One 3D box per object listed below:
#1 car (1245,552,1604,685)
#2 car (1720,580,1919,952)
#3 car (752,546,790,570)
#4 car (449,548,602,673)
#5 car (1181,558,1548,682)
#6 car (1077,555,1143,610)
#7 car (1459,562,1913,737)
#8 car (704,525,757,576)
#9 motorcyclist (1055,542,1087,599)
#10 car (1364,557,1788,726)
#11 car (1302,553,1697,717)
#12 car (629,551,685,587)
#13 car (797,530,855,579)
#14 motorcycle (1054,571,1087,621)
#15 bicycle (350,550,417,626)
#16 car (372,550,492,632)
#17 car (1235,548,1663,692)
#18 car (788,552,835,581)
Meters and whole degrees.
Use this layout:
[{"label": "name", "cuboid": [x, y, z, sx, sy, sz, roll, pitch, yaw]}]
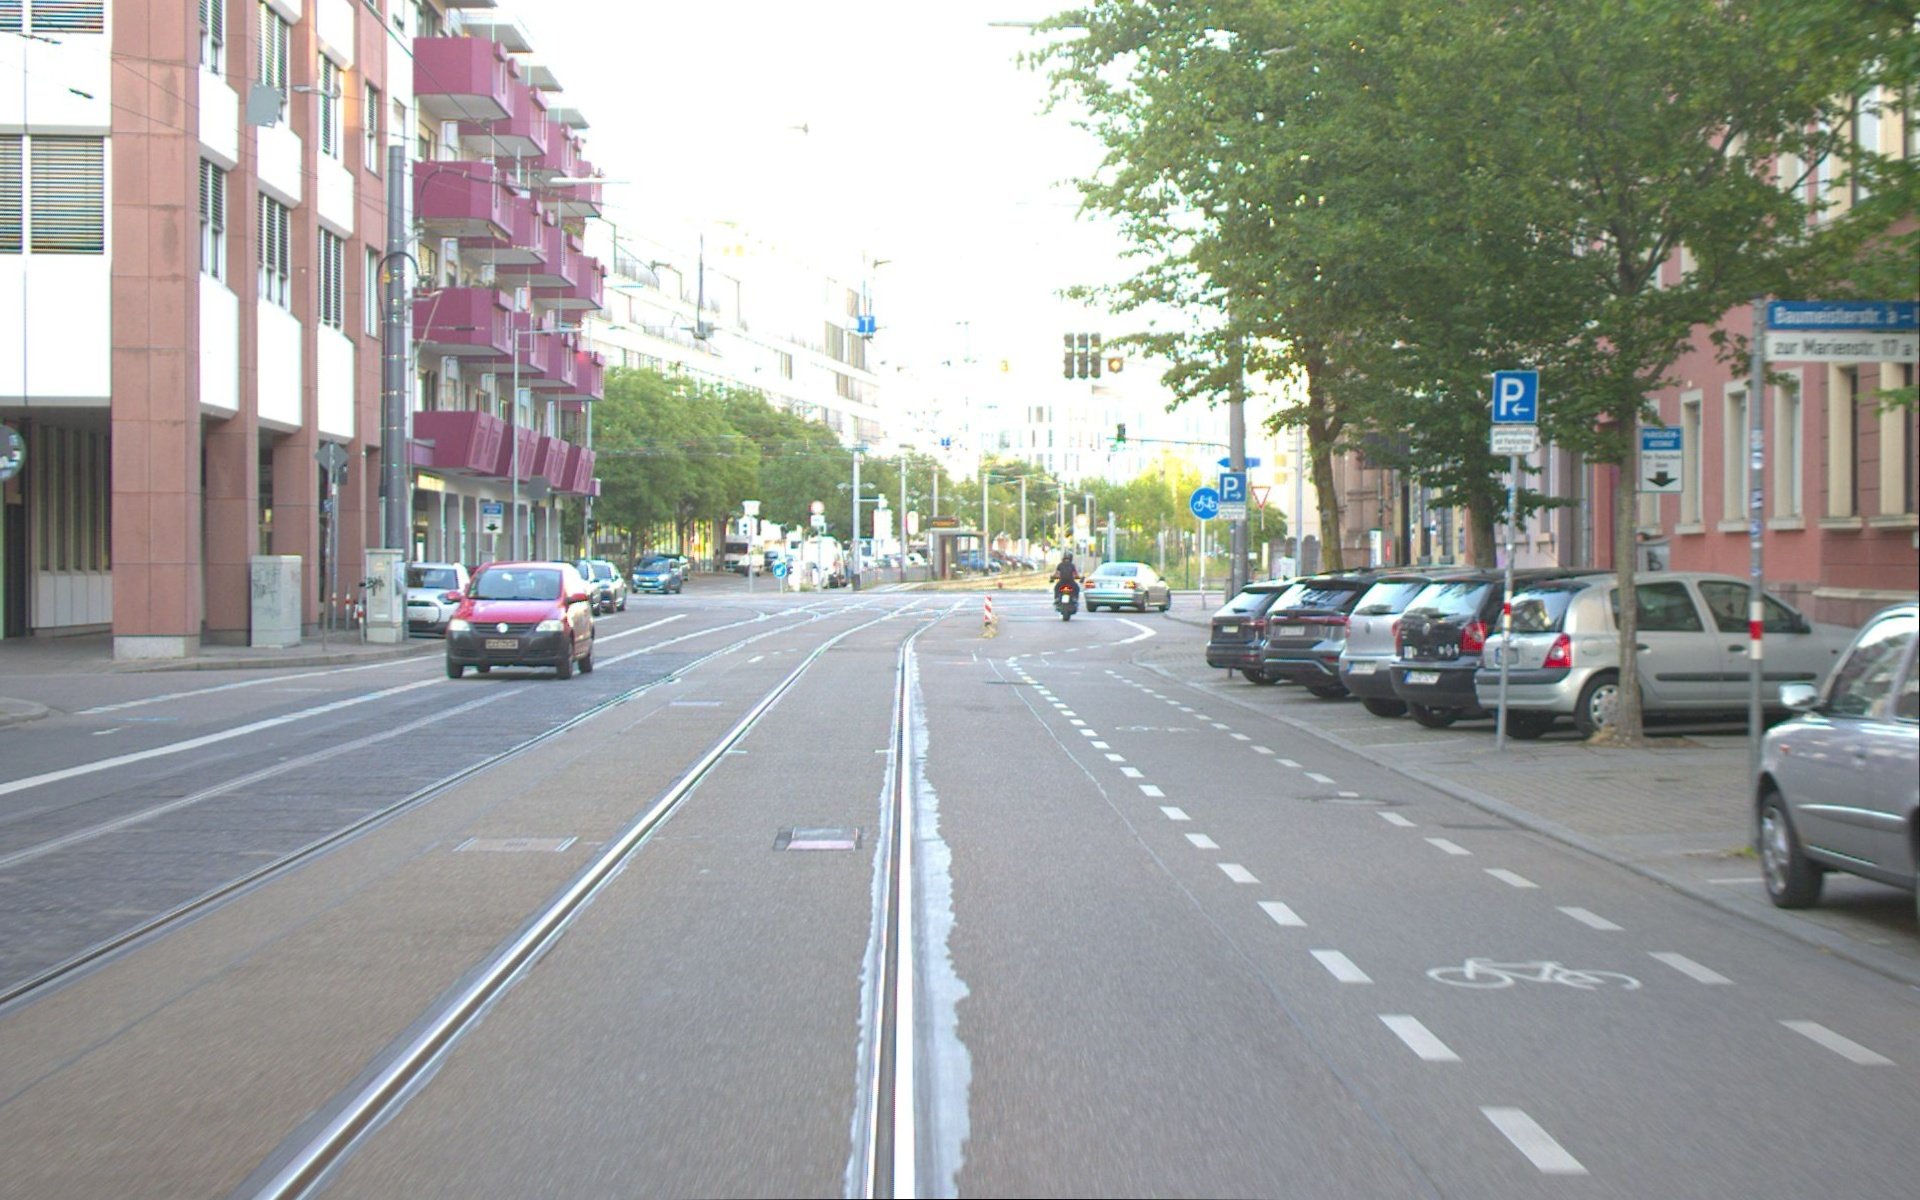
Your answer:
[{"label": "car", "cuboid": [5.728, 0.225, 42.373, 3.986, 1.487, 1.831, -2, 0, -25]}, {"label": "car", "cuboid": [4.471, 0.625, 14.460, 1.619, 1.376, 3.776, -2, 1, -1]}, {"label": "car", "cuboid": [-12.242, -2.718, 222.708, 1.683, 1.496, 4.238, 0, 1, 7]}, {"label": "car", "cuboid": [-5.798, 0.108, 46.216, 1.559, 1.553, 3.755, -1, 1, 0]}, {"label": "car", "cuboid": [5.386, 0.234, 45.665, 4.604, 1.452, 1.711, -2, 1, -25]}, {"label": "car", "cuboid": [4.412, -0.525, 101.622, 1.717, 1.550, 4.204, 1, 1, 0]}, {"label": "car", "cuboid": [6.267, 0.412, 29.734, 3.481, 1.424, 1.621, -1, -1, -20]}, {"label": "car", "cuboid": [-14.250, -3.072, 213.846, 2.202, 3.141, 6.141, 0, 1, 7]}, {"label": "motorcyclist", "cuboid": [2.852, -0.761, 88.360, 0.828, 1.468, 1.207, 0, 1, 2]}, {"label": "car", "cuboid": [5.714, 0.351, 31.877, 3.554, 1.424, 1.669, -2, 1, -26]}, {"label": "car", "cuboid": [5.435, 0.320, 34.625, 3.554, 1.511, 1.744, -2, 1, -26]}, {"label": "car", "cuboid": [-14.234, -1.468, 161.545, 1.683, 1.694, 4.238, 0, 1, 8]}, {"label": "car", "cuboid": [-6.890, -2.361, 177.047, 2.461, 2.474, 5.808, 0, 1, 3]}, {"label": "motorcycle", "cuboid": [2.852, -0.119, 88.198, 0.828, 1.236, 2.491, 0, 1, 2]}, {"label": "bicycle", "cuboid": [-10.703, -0.235, 63.866, 0.609, 1.373, 2.258, 0, 1, 7]}, {"label": "car", "cuboid": [-10.489, -0.203, 68.554, 1.717, 1.550, 4.204, 1, 1, 0]}, {"label": "car", "cuboid": [5.643, 0.198, 39.701, 4.443, 1.511, 2.064, -1, 1, -23]}, {"label": "car", "cuboid": [-7.375, -1.678, 171.241, 1.683, 1.434, 4.125, 0, 1, 7]}]
